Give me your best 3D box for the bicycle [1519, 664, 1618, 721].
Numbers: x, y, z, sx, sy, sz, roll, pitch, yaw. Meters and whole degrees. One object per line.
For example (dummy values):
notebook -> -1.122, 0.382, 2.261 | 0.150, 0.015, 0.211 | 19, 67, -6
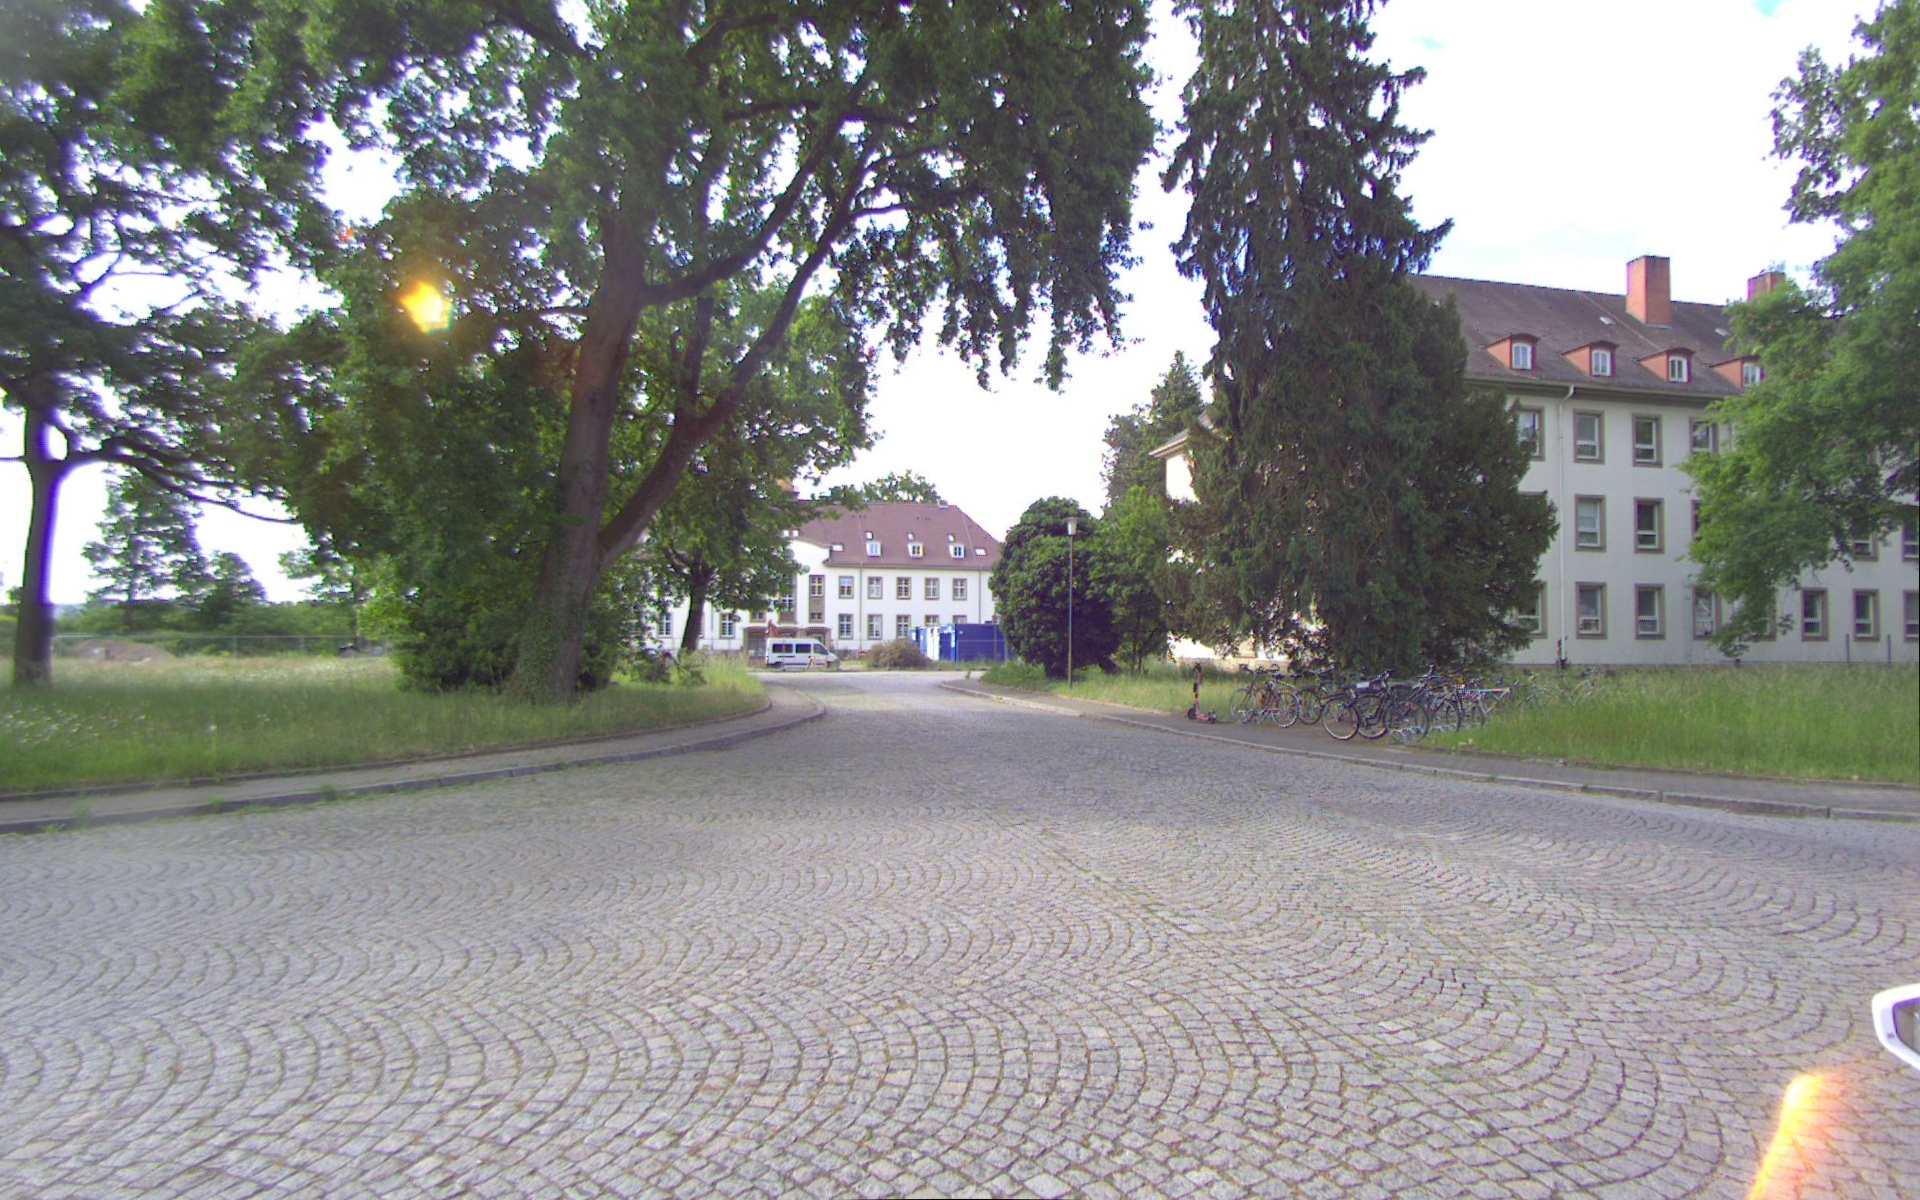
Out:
bicycle -> 12.173, 1.826, 20.145 | 0.521, 1.072, 1.608 | -1, -3, -31

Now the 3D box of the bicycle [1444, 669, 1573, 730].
bicycle -> 9.927, 1.781, 18.257 | 0.678, 1.018, 1.944 | -1, -3, -31

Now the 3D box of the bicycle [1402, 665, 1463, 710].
bicycle -> 11.112, 2.052, 23.650 | 0.429, 1.042, 1.253 | 4, -5, -31

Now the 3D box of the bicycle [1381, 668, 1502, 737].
bicycle -> 8.416, 1.763, 17.626 | 0.694, 1.117, 1.785 | -1, -3, -31

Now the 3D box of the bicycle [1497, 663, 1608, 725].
bicycle -> 11.379, 1.783, 19.342 | 0.535, 1.119, 1.762 | -1, -3, -31

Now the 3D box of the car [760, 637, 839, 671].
car -> -11.483, 3.870, 71.745 | 5.437, 2.237, 2.121 | 2, 0, -13

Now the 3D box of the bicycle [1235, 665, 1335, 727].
bicycle -> 6.595, 1.916, 20.475 | 0.636, 1.129, 1.975 | -1, -1, -31

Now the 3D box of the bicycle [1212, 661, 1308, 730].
bicycle -> 5.967, 1.874, 20.084 | 0.636, 1.239, 1.885 | -1, -1, -31

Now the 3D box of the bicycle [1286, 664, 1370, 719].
bicycle -> 7.837, 1.937, 21.434 | 0.535, 1.088, 1.610 | -1, -2, -42

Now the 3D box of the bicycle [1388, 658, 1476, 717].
bicycle -> 10.263, 1.887, 21.871 | 0.569, 1.201, 1.626 | -1, -1, -38

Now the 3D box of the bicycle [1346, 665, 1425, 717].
bicycle -> 9.293, 1.971, 21.964 | 0.541, 1.049, 1.498 | -1, -2, -42

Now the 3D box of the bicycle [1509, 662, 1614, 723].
bicycle -> 11.782, 1.791, 19.729 | 0.535, 1.131, 1.688 | -1, -3, -31

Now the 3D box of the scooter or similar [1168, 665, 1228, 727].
scooter or similar -> 4.954, 1.975, 21.016 | 0.670, 1.210, 1.551 | 0, -3, -9

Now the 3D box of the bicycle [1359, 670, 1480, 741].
bicycle -> 7.836, 1.769, 17.193 | 0.694, 1.117, 1.759 | -1, -3, -31

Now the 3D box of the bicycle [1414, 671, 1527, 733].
bicycle -> 9.080, 1.791, 17.920 | 0.625, 1.014, 1.683 | -1, -3, -31
